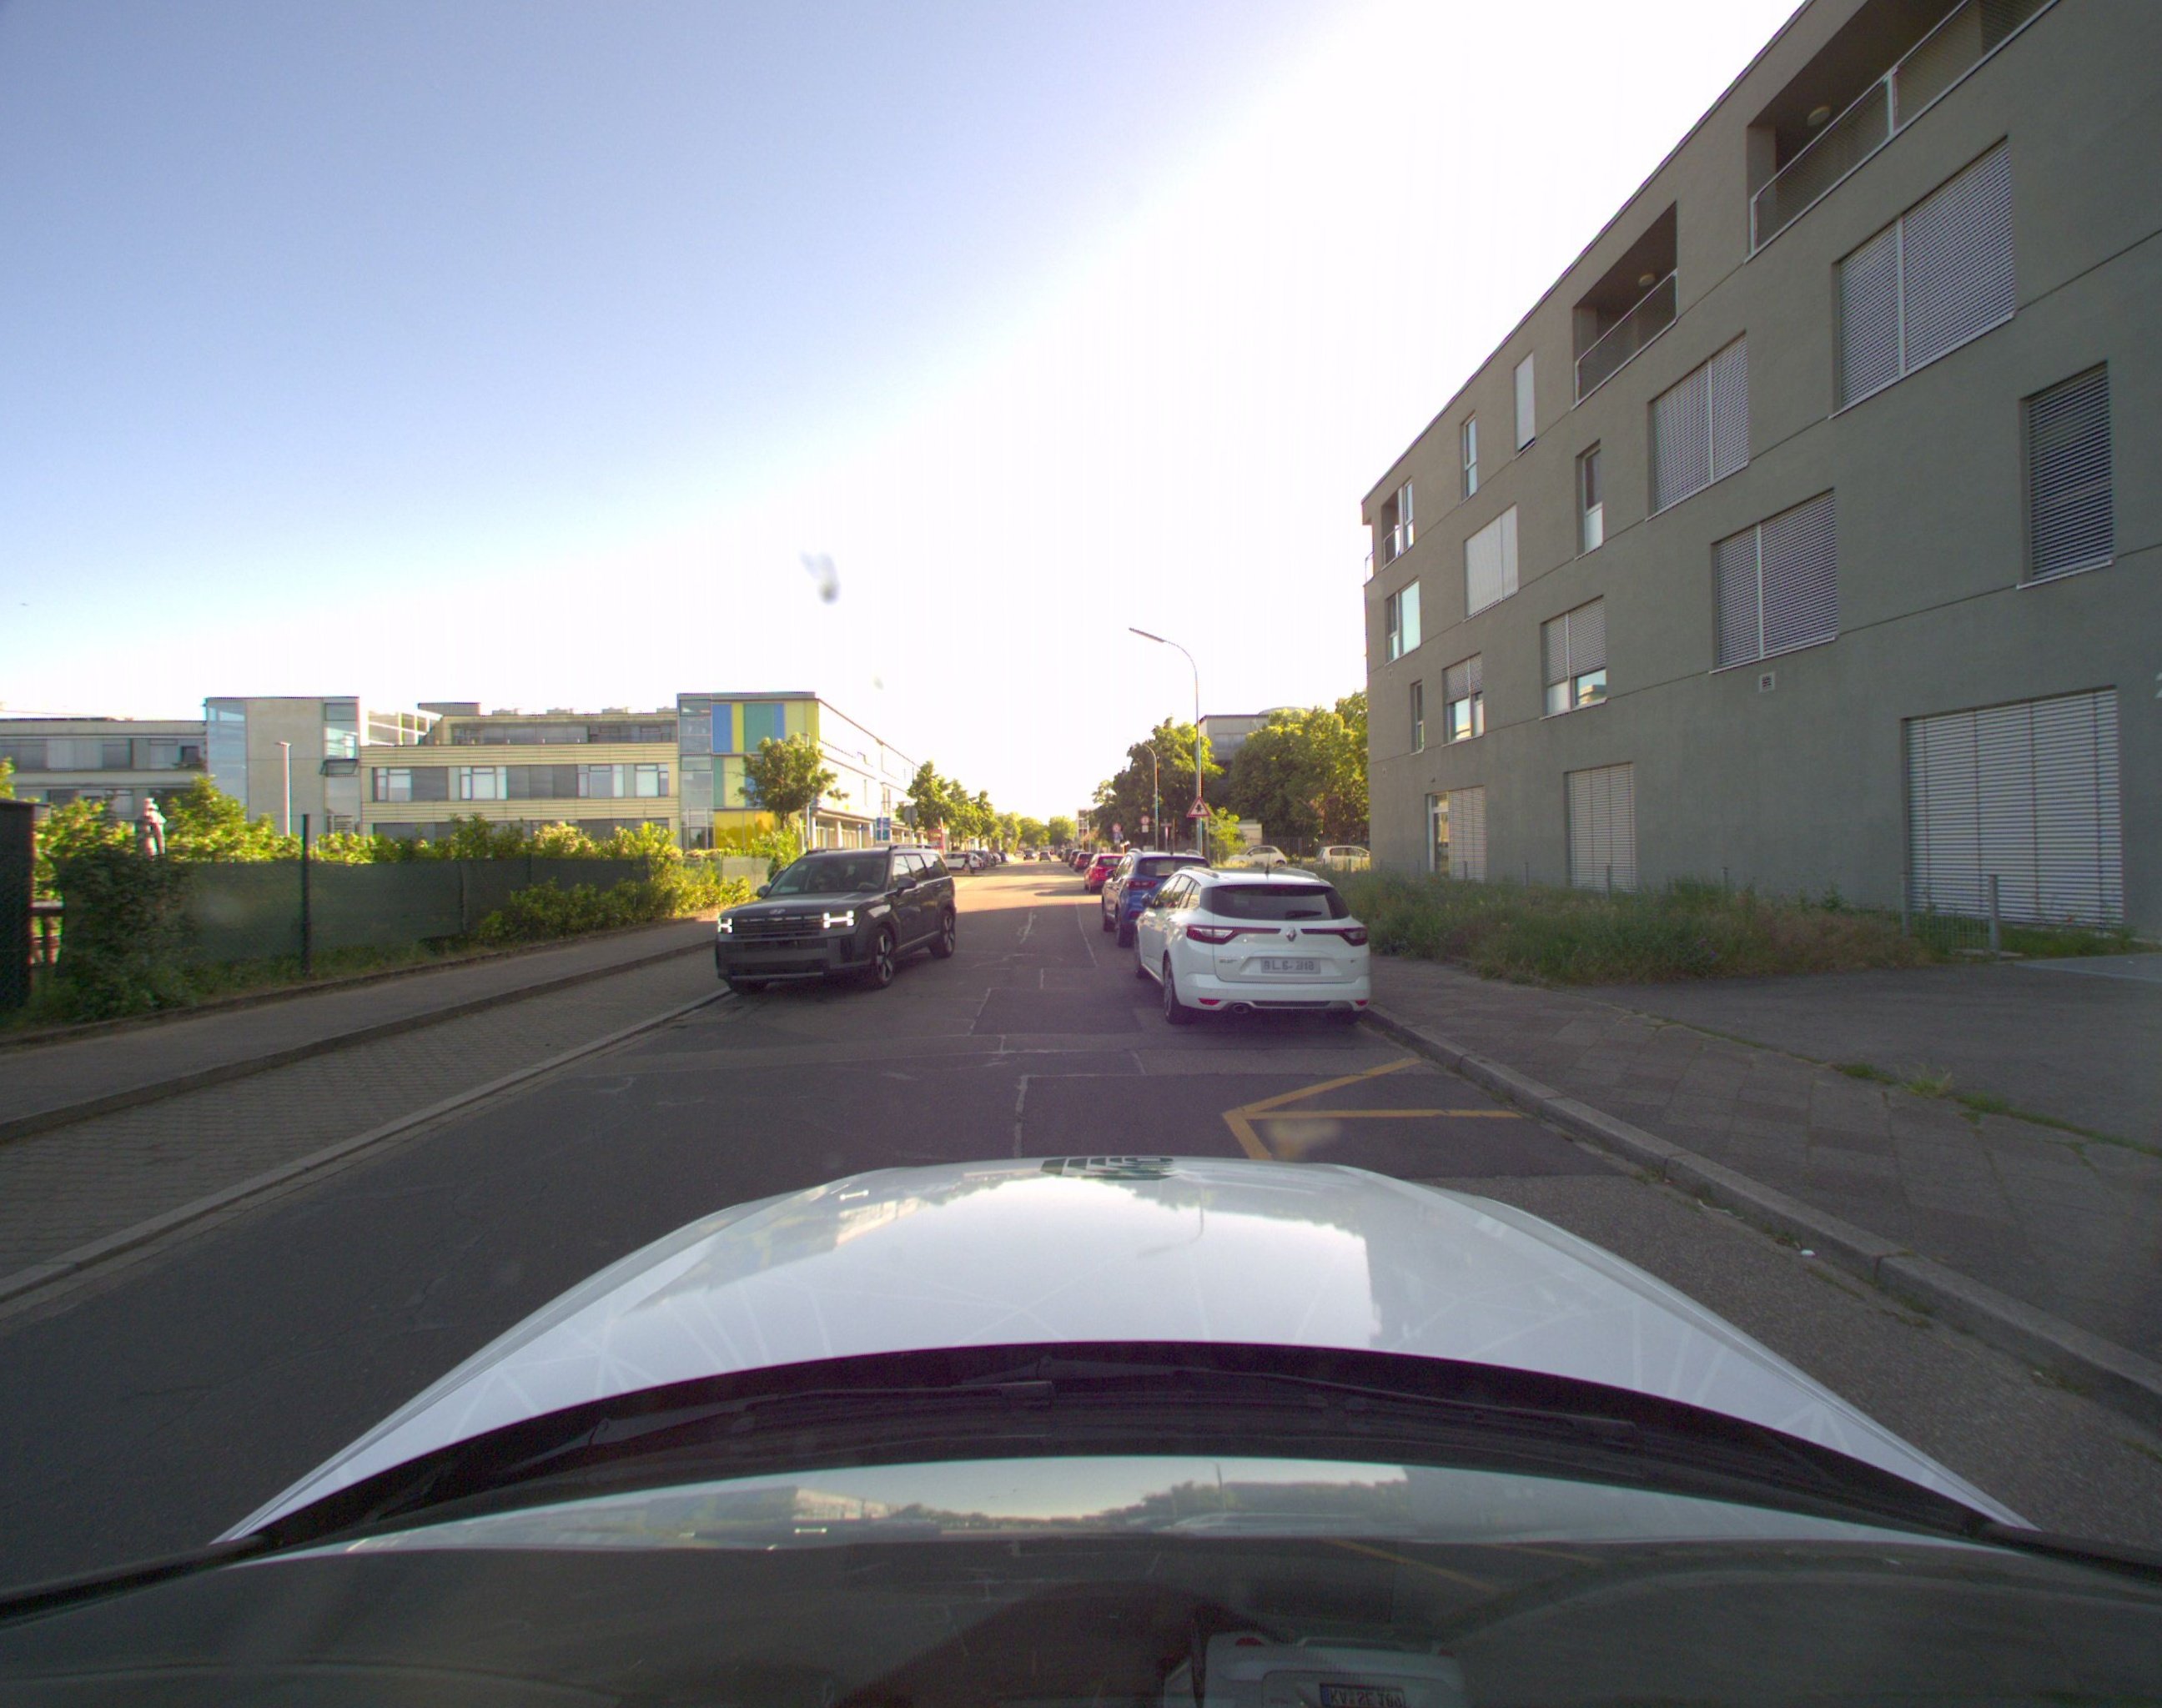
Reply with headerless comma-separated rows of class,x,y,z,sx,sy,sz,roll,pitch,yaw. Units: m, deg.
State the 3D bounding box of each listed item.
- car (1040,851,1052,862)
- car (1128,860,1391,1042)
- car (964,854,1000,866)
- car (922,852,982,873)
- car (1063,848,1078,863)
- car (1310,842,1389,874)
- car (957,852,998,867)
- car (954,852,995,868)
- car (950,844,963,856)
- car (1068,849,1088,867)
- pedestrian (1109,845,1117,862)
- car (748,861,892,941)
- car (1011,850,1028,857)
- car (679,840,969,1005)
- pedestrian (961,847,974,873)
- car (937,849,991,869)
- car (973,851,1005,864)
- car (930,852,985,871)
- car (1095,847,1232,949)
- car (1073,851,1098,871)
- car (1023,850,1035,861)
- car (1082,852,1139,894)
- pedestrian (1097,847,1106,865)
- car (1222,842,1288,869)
car,-5.271,0.386,121.903,1.739,1.543,3.996,-1,0,-3
car,1.592,0.804,8.901,1.740,1.429,4.582,0,0,-2
car,-11.035,0.680,90.934,3.982,1.358,1.739,0,0,-7
car,-10.624,0.685,67.114,4.596,1.651,1.868,-1,0,0
car,-1.360,0.157,104.836,1.728,1.830,3.902,-1,0,-2
car,13.154,0.202,39.986,3.313,1.458,1.716,-1,0,2
car,-10.807,0.554,85.430,4.241,1.611,2.044,0,0,-7
car,-10.760,0.602,82.477,3.982,1.607,1.868,0,0,-7
car,-22.372,-0.626,146.421,1.989,2.014,3.996,-1,-1,-3
car,-0.319,0.356,79.920,1.807,1.666,4.590,0,1,-1
pedestrian,3.358,-0.069,85.523,0.697,1.661,0.751,-4,0,-3
car,-5.411,0.899,17.525,1.742,1.446,4.538,0,0,-2
car,-14.407,-0.015,191.712,3.977,1.519,1.998,-1,-1,-3
car,-3.107,0.725,11.158,1.933,1.727,4.847,-2,0,6
pedestrian,-8.350,0.437,59.805,0.855,1.842,0.825,0,0,-1
car,-10.833,0.461,75.476,4.730,1.865,1.826,0,0,-3
car,-12.242,0.450,108.149,4.209,1.603,1.868,0,0,-7
car,-10.571,0.639,69.840,4.423,1.501,1.826,-1,0,-3
car,1.345,0.682,15.117,1.813,1.599,4.622,0,0,-3
car,0.289,0.531,63.904,1.716,1.455,4.647,0,0,-3
car,-8.652,0.210,136.871,1.951,1.867,5.248,-1,0,-4
car,1.048,0.667,31.449,1.815,1.499,4.447,0,0,-3
pedestrian,2.051,0.180,82.434,0.716,1.758,0.884,-4,0,-2
car,10.261,0.068,48.100,3.537,1.486,1.599,-2,0,-2
